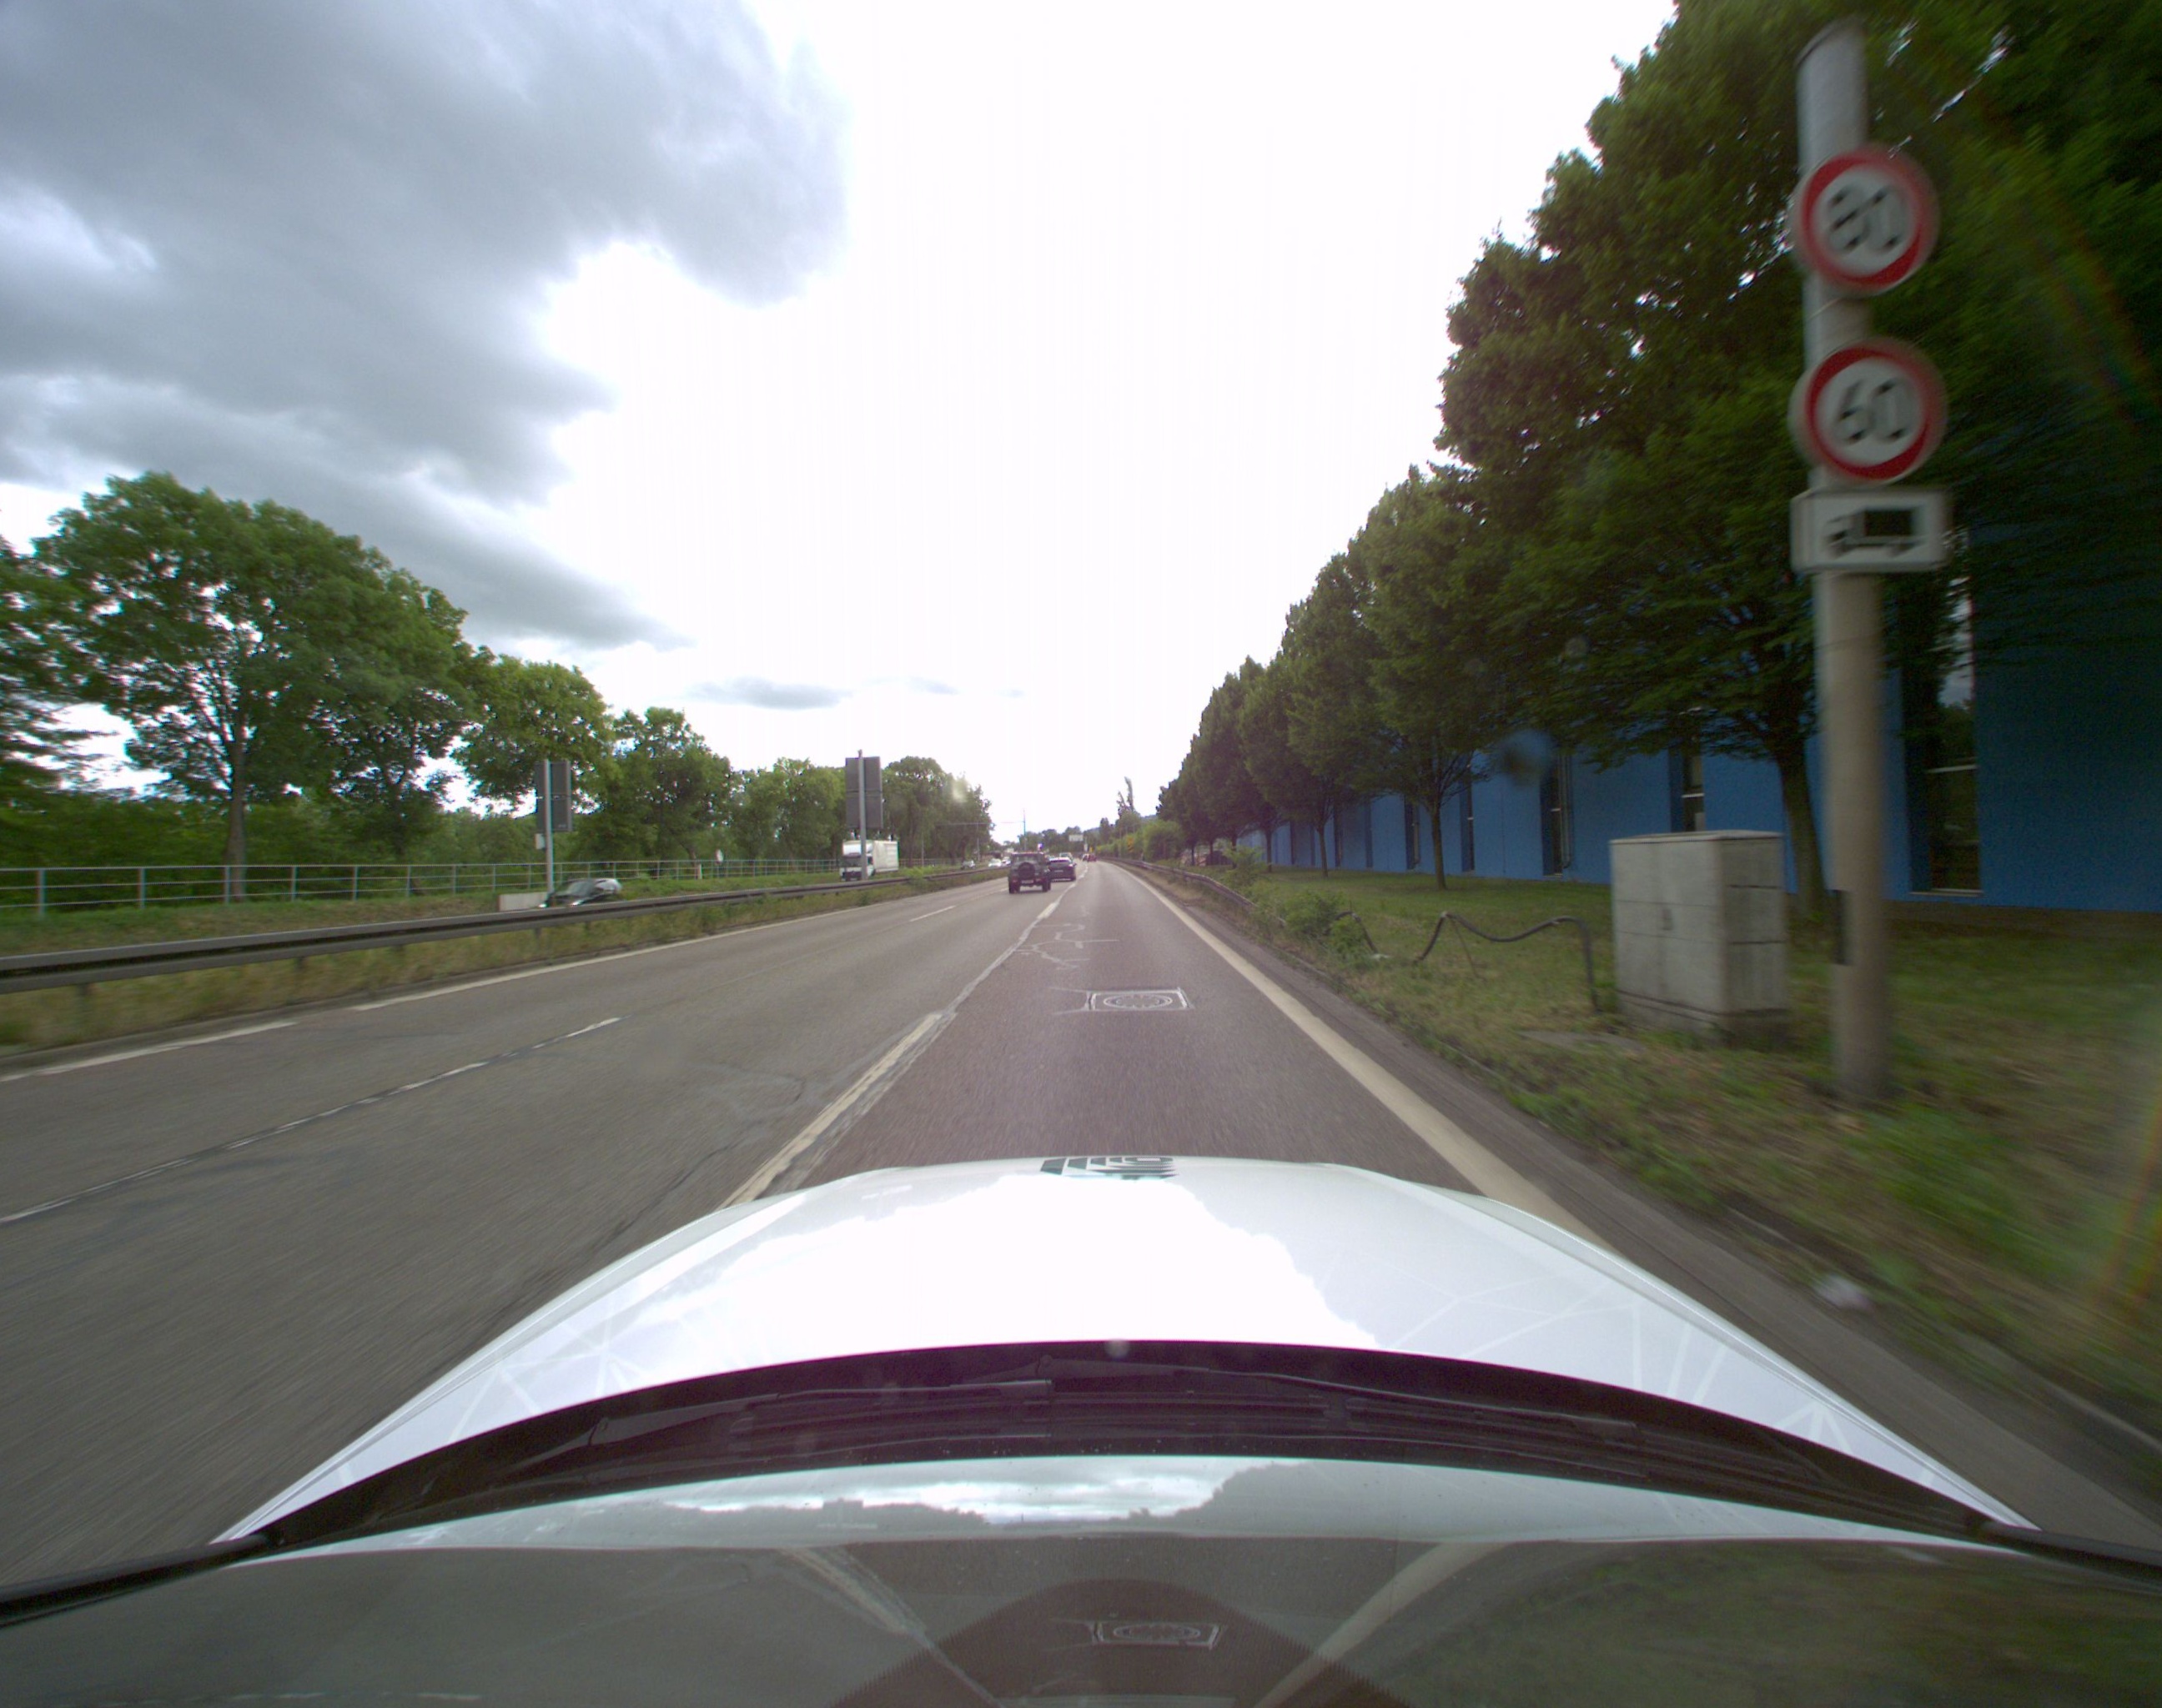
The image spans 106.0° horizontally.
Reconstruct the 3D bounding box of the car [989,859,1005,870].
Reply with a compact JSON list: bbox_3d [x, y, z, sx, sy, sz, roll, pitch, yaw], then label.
[{"bbox_3d":[-12.830,1.579,124.682,1.691,1.605,4.540,-4,0,2],"label":"car"}]

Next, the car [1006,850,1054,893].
[{"bbox_3d":[-2.165,0.711,35.455,1.691,1.686,4.002,-2,0,2],"label":"car"}]

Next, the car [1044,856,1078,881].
[{"bbox_3d":[-1.172,0.841,50.031,1.838,1.423,4.901,-2,0,1],"label":"car"}]

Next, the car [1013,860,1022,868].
[{"bbox_3d":[-15.738,2.399,202.108,1.720,1.775,3.742,-3,0,1],"label":"car"}]

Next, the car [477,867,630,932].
[{"bbox_3d":[-16.444,1.347,25.679,1.870,1.724,4.151,-2,0,4],"label":"car"}]

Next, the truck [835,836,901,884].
[{"bbox_3d":[-17.496,0.496,67.645,2.880,3.579,9.585,-3,0,0],"label":"truck"}]

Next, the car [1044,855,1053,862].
[{"bbox_3d":[-10.055,1.396,248.652,2.014,1.934,4.883,-3,0,-10],"label":"car"}]

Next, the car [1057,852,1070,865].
[{"bbox_3d":[-2.650,0.689,120.989,1.692,1.742,4.000,-2,0,1],"label":"car"}]

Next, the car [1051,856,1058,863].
[{"bbox_3d":[-6.695,1.405,204.866,1.694,1.742,4.388,-4,0,-3],"label":"car"}]

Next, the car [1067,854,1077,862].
[{"bbox_3d":[-2.432,1.145,210.547,2.011,1.934,4.889,-3,0,-6],"label":"car"}]

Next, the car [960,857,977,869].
[{"bbox_3d":[-16.681,1.346,120.814,1.720,1.605,4.044,-4,0,2],"label":"car"}]

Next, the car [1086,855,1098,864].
[{"bbox_3d":[2.132,1.047,154.828,1.970,1.423,4.896,-3,0,-2],"label":"car"}]

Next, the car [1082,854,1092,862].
[{"bbox_3d":[1.257,0.863,176.706,1.695,1.742,4.386,-2,0,-4],"label":"car"}]

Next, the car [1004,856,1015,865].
[{"bbox_3d":[-14.651,1.240,166.994,1.860,1.674,4.719,-4,0,0],"label":"car"}]
